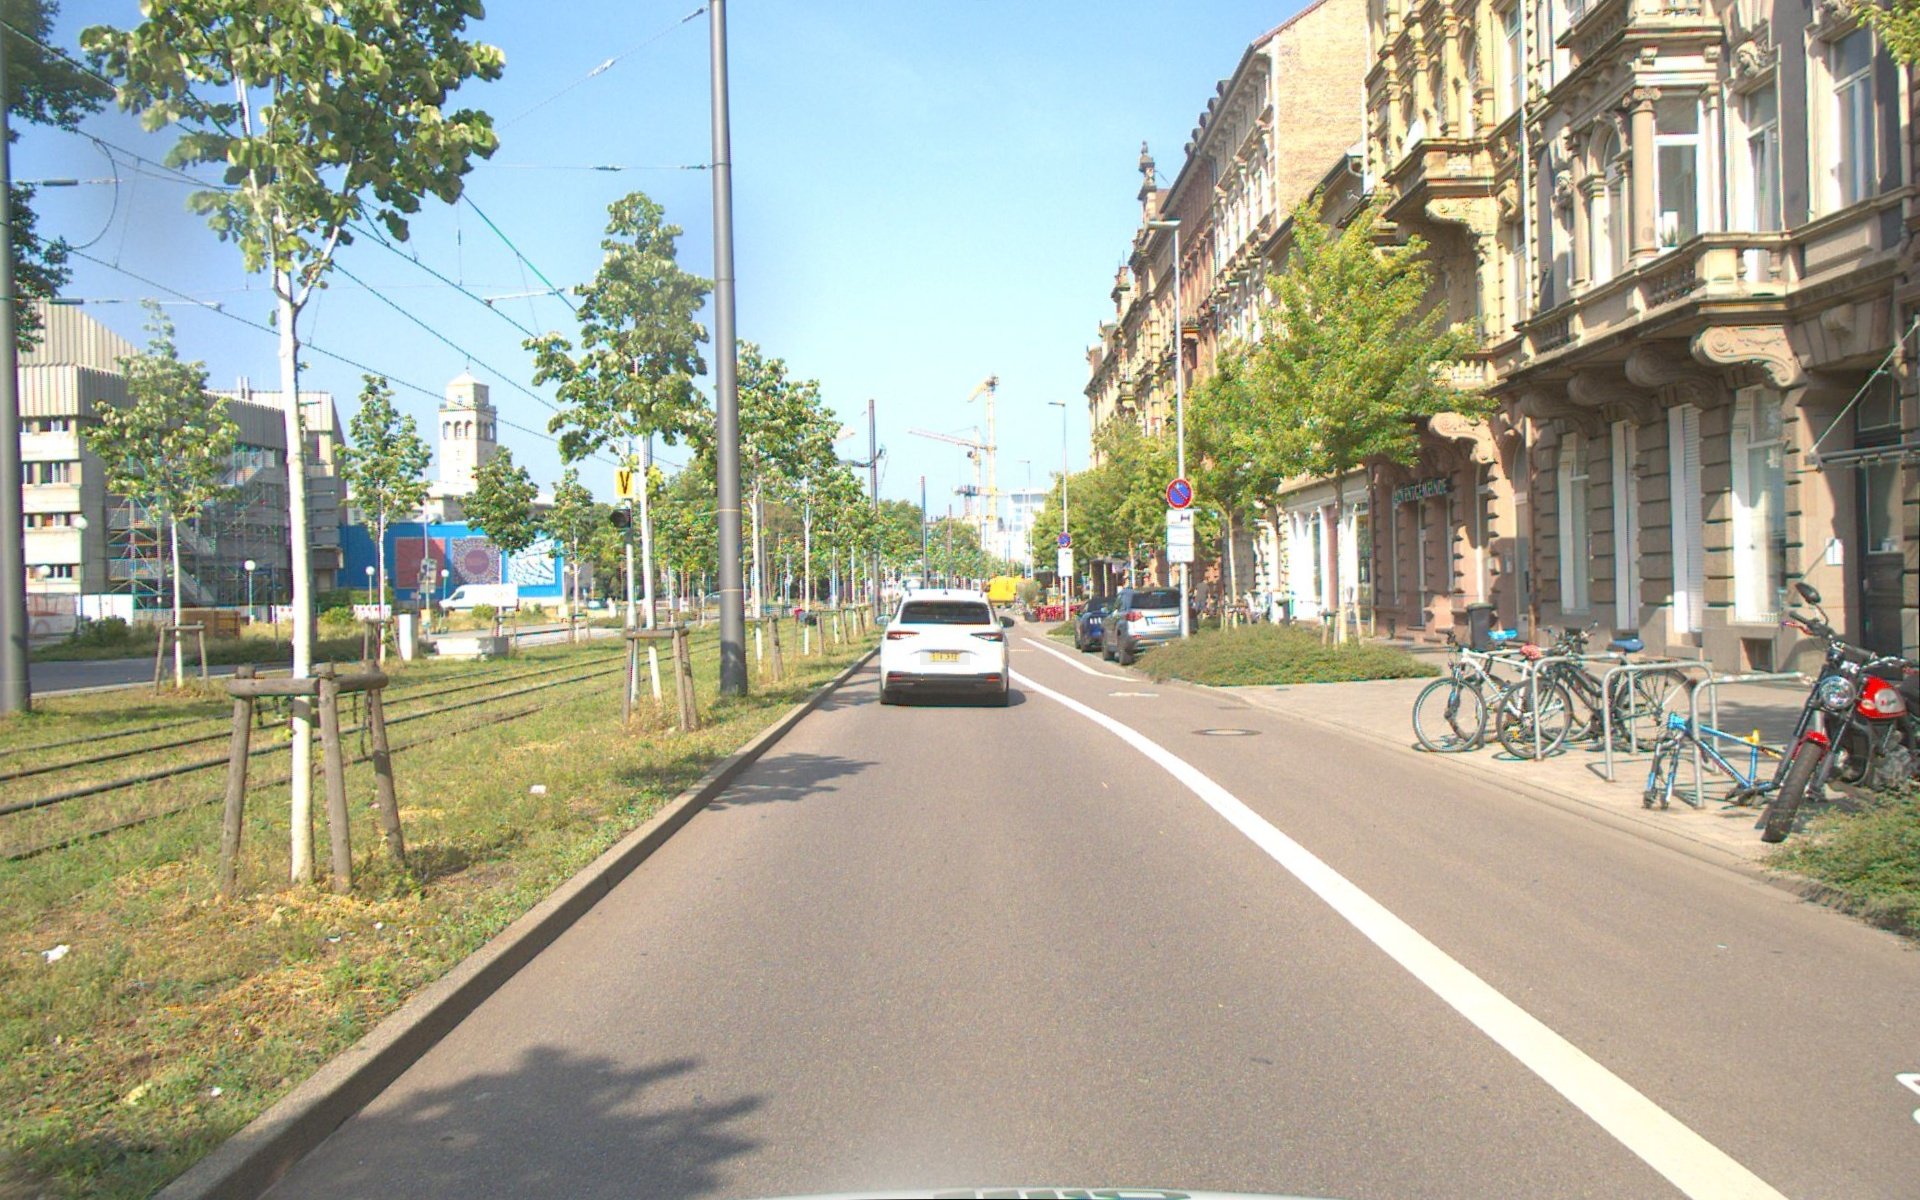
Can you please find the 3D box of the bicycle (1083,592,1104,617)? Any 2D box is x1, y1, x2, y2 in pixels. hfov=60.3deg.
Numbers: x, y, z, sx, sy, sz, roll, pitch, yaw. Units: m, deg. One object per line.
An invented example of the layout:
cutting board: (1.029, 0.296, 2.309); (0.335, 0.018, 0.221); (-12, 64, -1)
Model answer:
bicycle: (6.116, 0.205, 75.888); (0.584, 1.142, 1.923); (-1, 0, -7)

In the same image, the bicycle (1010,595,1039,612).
bicycle: (4.307, 0.220, 110.360); (1.895, 1.003, 0.471); (-3, 0, 1)

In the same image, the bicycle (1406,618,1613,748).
bicycle: (5.040, 0.751, 15.200); (1.749, 1.072, 0.372); (-3, 0, -2)

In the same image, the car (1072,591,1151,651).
car: (4.030, 0.516, 44.556); (1.701, 1.420, 4.715); (-3, 0, 1)

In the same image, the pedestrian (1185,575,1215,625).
pedestrian: (8.548, 0.006, 58.955); (0.807, 1.726, 0.792); (-3, 0, -5)

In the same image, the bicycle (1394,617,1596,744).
bicycle: (5.039, 0.752, 15.599); (1.749, 1.072, 0.372); (-3, 0, -2)

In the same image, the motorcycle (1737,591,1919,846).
motorcycle: (5.584, 0.650, 10.006); (2.019, 1.309, 0.696); (-4, 1, -36)

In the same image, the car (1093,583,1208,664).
car: (4.176, 0.471, 36.854); (1.735, 1.616, 4.244); (-3, 0, -4)

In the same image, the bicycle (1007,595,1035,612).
bicycle: (4.216, 0.259, 114.130); (1.894, 1.030, 0.441); (-3, 0, 4)

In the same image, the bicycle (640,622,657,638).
bicycle: (-19.987, 1.920, 106.193); (0.648, 0.978, 2.078); (-3, 0, 0)

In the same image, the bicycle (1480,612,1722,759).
bicycle: (5.452, 0.710, 14.112); (1.772, 1.115, 0.671); (-3, 0, -6)

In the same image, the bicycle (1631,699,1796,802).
bicycle: (5.144, 1.025, 11.307); (0.938, 0.620, 0.360); (-3, 0, 0)

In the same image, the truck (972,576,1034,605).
truck: (3.620, -0.788, 141.344); (2.196, 2.358, 5.814); (-1, 0, -36)

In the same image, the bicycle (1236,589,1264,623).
bicycle: (9.675, 0.184, 55.184); (0.442, 1.102, 1.445); (-1, 0, -10)

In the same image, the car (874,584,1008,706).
car: (-0.266, 0.592, 24.272); (1.780, 1.617, 4.406); (-1, 0, 0)

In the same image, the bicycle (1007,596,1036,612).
bicycle: (4.259, 0.291, 114.607); (1.894, 0.962, 0.441); (-3, 0, 4)

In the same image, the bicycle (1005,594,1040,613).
bicycle: (4.118, 0.256, 109.126); (2.193, 1.123, 0.588); (-3, 0, 1)

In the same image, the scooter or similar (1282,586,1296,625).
scooter or similar: (10.018, 0.164, 50.406); (0.282, 1.154, 1.089); (-1, 0, 5)

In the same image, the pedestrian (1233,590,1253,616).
pedestrian: (9.974, 0.091, 58.241); (0.559, 0.869, 0.457); (-4, 0, -6)

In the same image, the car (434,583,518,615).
car: (-42.043, -0.090, 143.745); (6.777, 2.685, 2.498); (1, 0, -22)

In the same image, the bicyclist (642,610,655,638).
bicyclist: (-20.012, 1.537, 106.250); (0.634, 1.766, 0.918); (-3, 0, -1)
